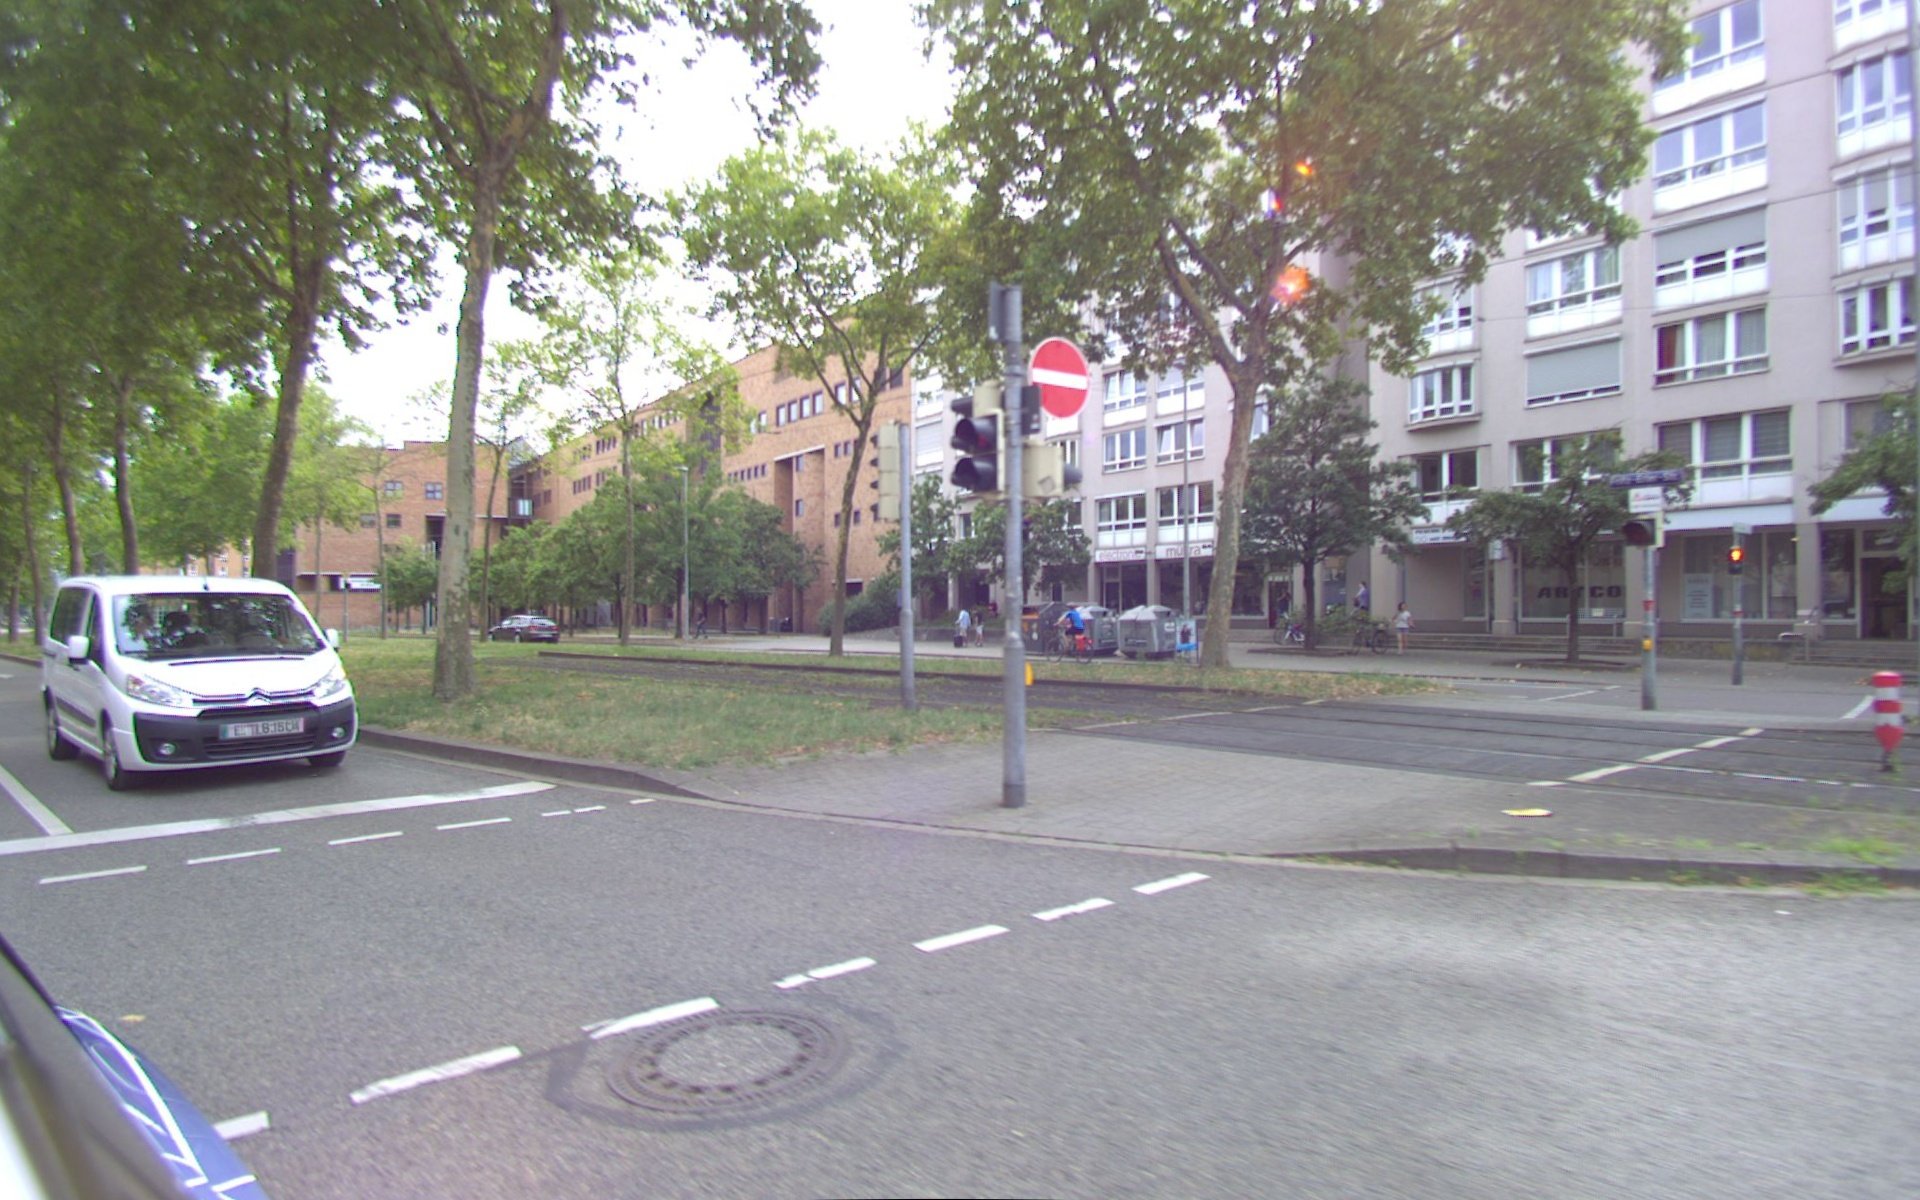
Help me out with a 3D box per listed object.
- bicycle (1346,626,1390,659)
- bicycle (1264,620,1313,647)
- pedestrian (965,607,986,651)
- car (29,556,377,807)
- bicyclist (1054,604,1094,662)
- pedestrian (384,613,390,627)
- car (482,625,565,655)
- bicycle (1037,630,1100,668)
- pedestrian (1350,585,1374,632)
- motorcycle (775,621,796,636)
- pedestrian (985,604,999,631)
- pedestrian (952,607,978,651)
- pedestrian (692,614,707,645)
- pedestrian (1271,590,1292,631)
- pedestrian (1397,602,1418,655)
[{"bbox_3d":[12.139,1.256,30.106,1.606,0.950,0.441,0,-1,-36],"label":"bicycle"},{"bbox_3d":[11.555,1.165,35.615,0.433,0.950,1.635,0,-1,-40],"label":"bicycle"},{"bbox_3d":[0.627,1.144,40.348,0.546,1.718,0.627,0,-2,-44],"label":"pedestrian"},{"bbox_3d":[-7.812,0.692,10.225,4.954,1.940,1.911,-2,-2,42],"label":"car"},{"bbox_3d":[3.405,0.985,30.296,0.682,1.685,0.954,0,-1,-44],"label":"bicyclist"},{"bbox_3d":[-62.810,2.157,110.958,0.500,1.543,0.521,0,-2,-33],"label":"pedestrian"},{"bbox_3d":[-19.889,1.800,46.050,4.533,1.254,1.711,-1,-1,42],"label":"car"},{"bbox_3d":[3.259,1.461,30.442,0.683,1.100,1.878,0,-1,-44],"label":"bicycle"},{"bbox_3d":[13.995,0.297,35.213,0.563,1.618,0.549,0,-1,-39],"label":"pedestrian"},{"bbox_3d":[-12.273,2.014,71.217,0.365,1.031,1.566,-1,-1,39],"label":"motorcycle"},{"bbox_3d":[1.597,0.872,50.978,0.451,1.333,0.555,0,-2,-37],"label":"pedestrian"},{"bbox_3d":[0.190,1.144,39.941,0.546,1.718,0.885,0,-2,-43],"label":"pedestrian"},{"bbox_3d":[-14.299,1.616,55.592,0.546,1.718,0.627,0,-2,-44],"label":"pedestrian"},{"bbox_3d":[12.509,0.403,39.349,0.562,1.571,0.550,0,-1,-36],"label":"pedestrian"},{"bbox_3d":[13.264,0.843,29.979,0.513,1.542,0.528,-1,-1,28],"label":"pedestrian"}]
